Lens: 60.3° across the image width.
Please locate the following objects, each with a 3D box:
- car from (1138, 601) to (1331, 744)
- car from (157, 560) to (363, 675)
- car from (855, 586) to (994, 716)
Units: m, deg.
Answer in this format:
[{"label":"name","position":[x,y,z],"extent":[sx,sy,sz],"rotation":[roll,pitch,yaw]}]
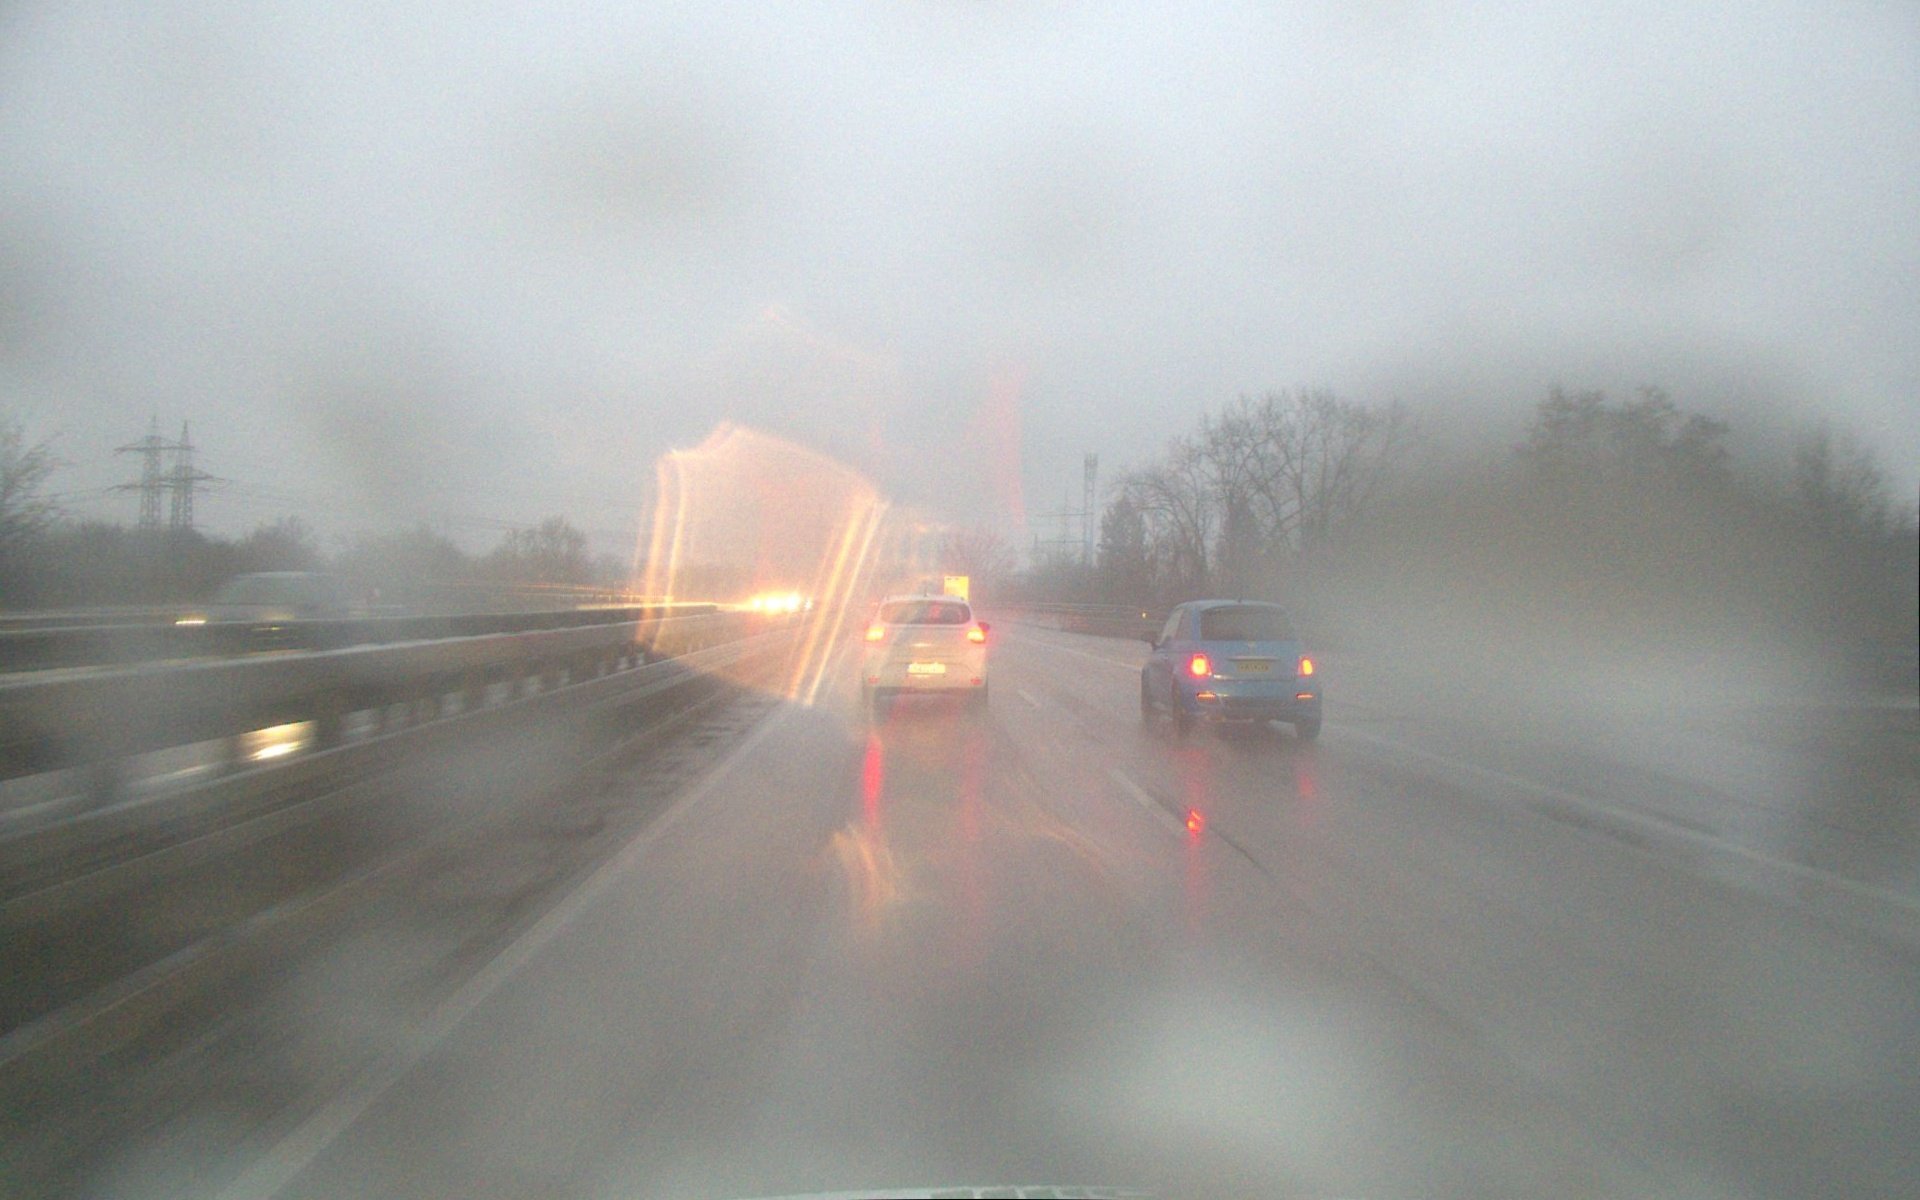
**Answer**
[{"label":"car","position":[3.217,0.792,20.121],"extent":[1.807,1.479,4.150],"rotation":[1,1,2]},{"label":"car","position":[-12.178,0.267,29.128],"extent":[1.858,1.815,4.700],"rotation":[1,0,-4]},{"label":"car","position":[-0.496,0.661,23.828],"extent":[1.808,1.664,3.767],"rotation":[1,1,-1]}]
